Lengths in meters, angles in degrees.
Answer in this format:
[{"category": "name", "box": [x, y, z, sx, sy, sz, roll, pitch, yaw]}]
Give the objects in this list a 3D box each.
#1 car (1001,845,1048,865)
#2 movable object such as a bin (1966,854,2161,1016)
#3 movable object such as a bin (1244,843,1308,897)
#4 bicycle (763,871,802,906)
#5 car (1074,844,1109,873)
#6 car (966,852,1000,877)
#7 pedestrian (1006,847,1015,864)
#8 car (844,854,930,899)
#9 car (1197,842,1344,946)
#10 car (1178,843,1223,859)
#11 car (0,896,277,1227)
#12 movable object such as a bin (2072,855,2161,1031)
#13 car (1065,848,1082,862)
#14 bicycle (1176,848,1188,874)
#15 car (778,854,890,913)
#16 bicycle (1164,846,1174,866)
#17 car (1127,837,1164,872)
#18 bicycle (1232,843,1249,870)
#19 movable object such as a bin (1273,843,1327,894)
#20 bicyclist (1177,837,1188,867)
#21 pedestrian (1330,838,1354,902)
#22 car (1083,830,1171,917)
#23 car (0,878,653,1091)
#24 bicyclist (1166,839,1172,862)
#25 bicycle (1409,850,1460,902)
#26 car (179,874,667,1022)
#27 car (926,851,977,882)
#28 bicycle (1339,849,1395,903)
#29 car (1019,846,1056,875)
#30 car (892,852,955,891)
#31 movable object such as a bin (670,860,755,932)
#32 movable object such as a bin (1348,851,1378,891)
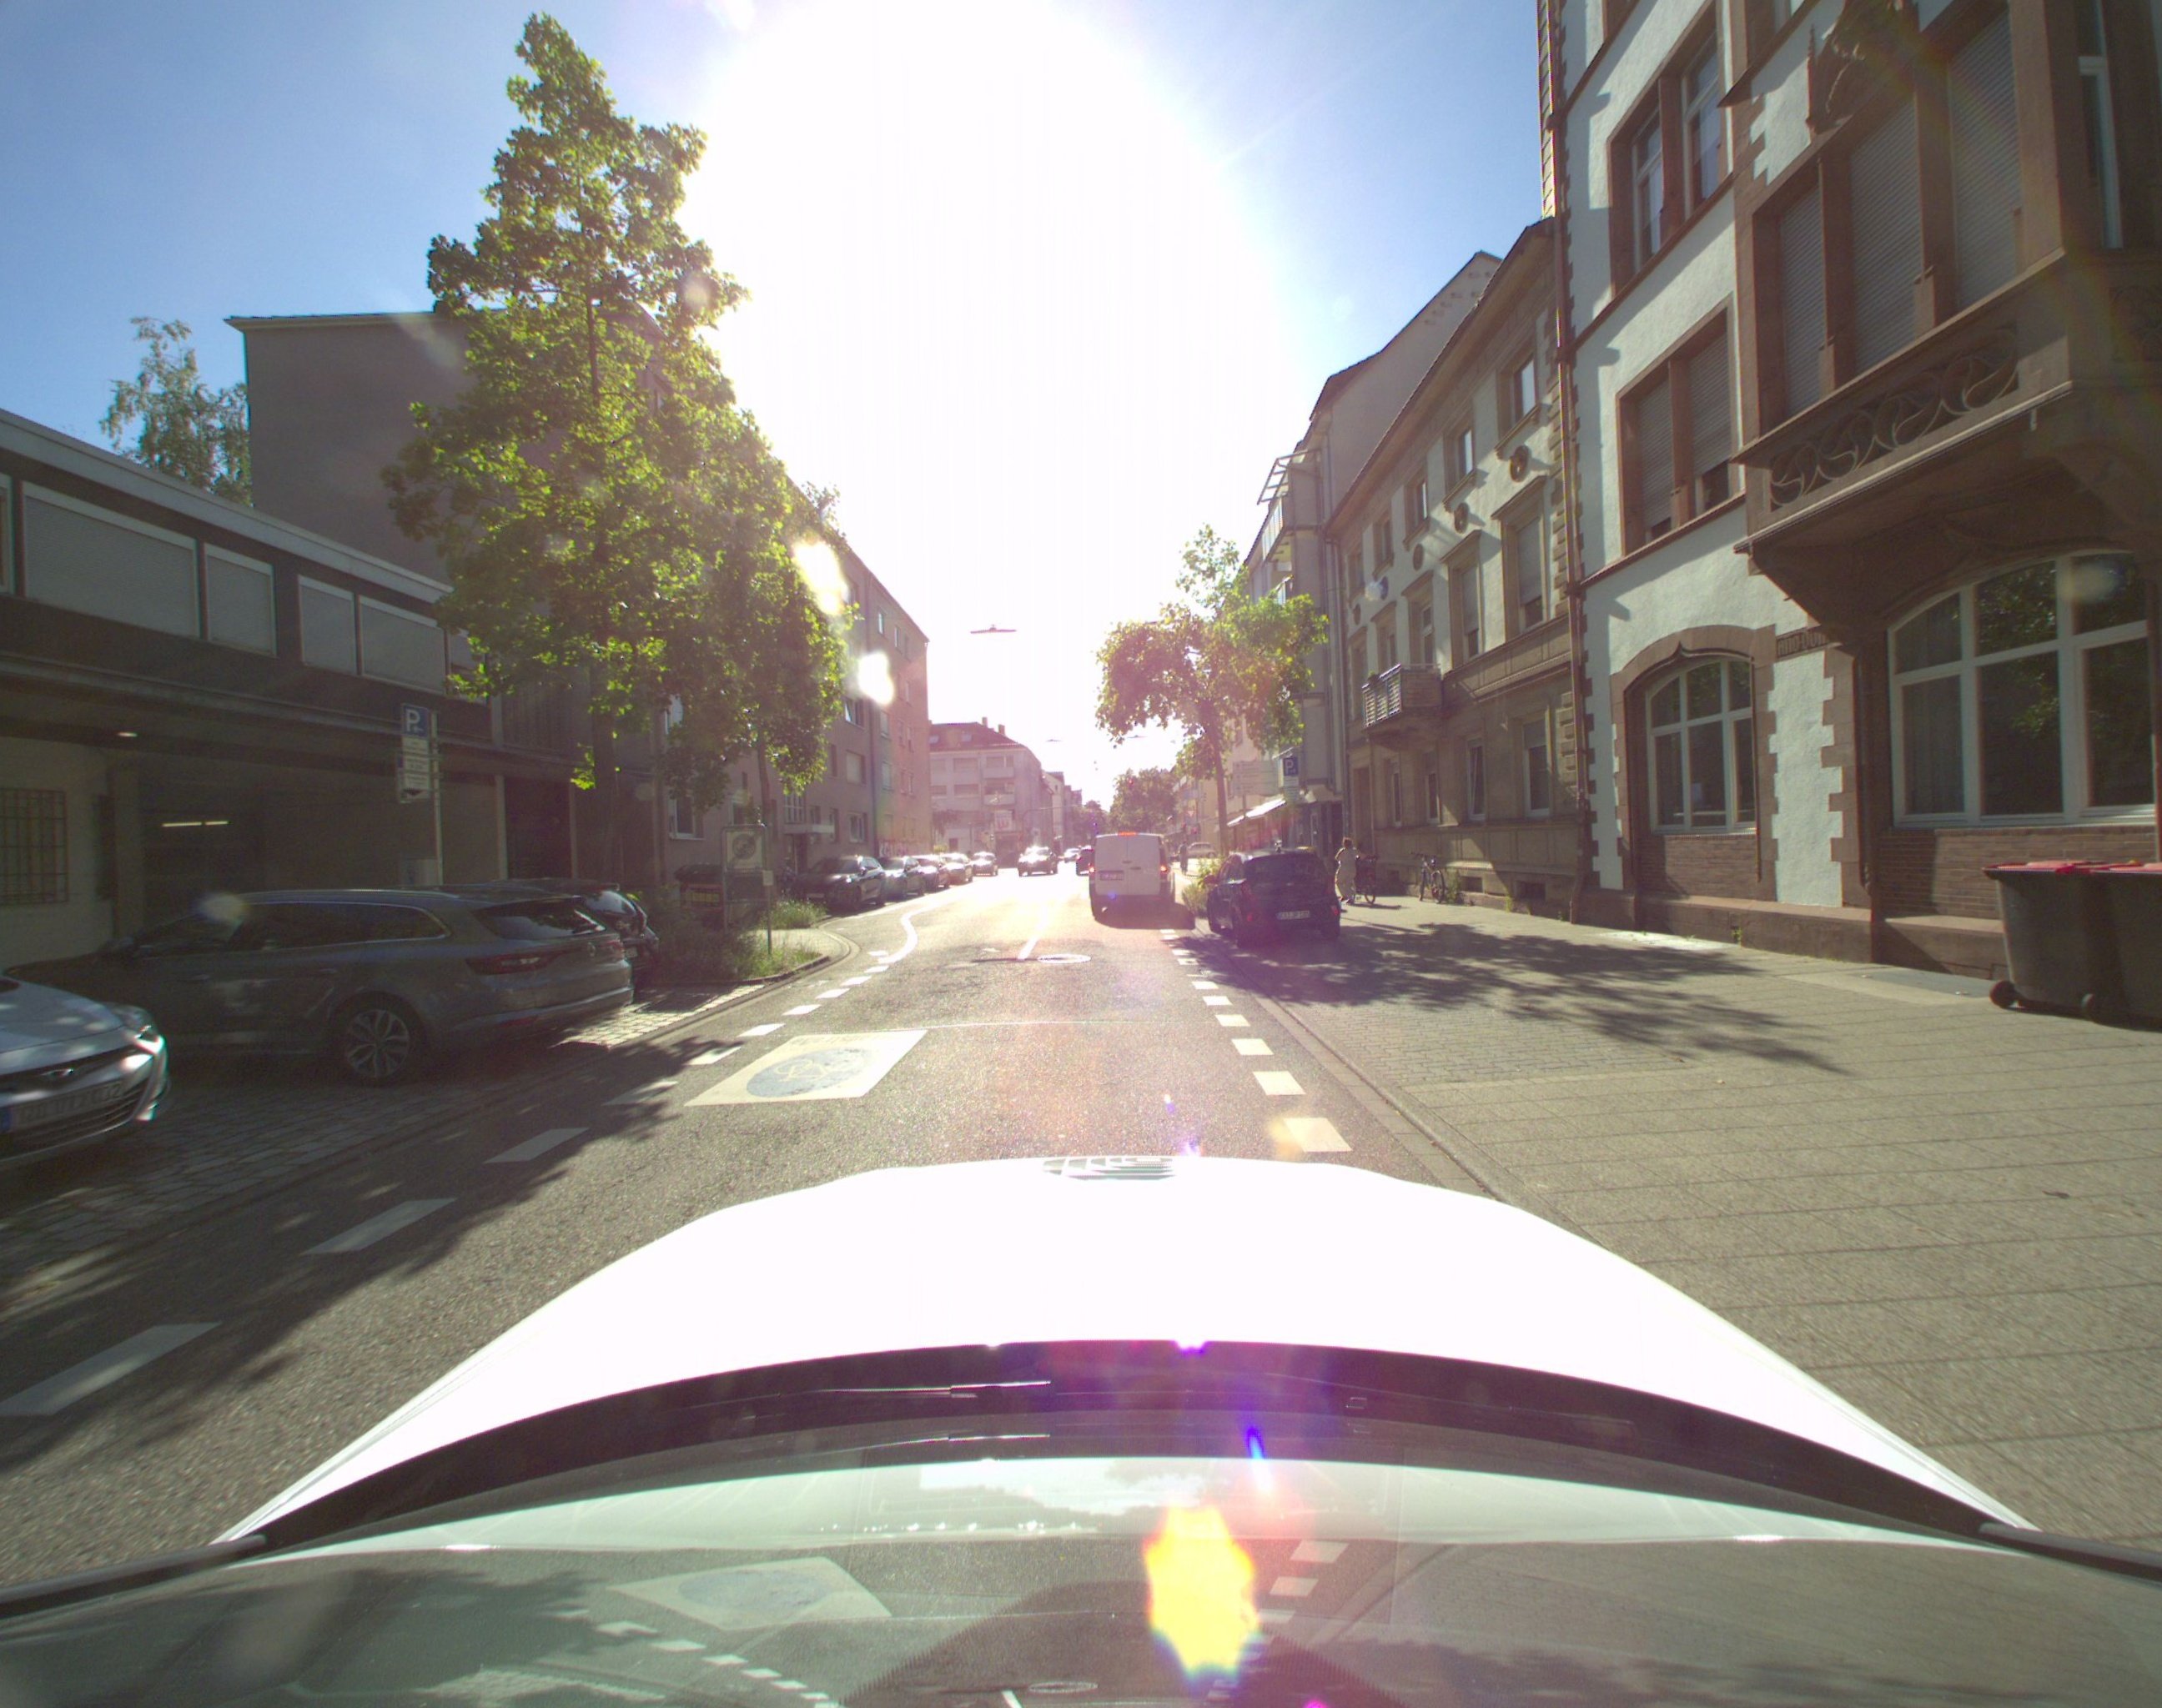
[{"category": "car", "box": [-4.833, 0.078, 70.110, 3.976, 1.640, 1.999, -2, 0, -2]}, {"category": "movable object such as a bin", "box": [7.006, 0.550, 5.827, 0.635, 1.069, 0.632, -2, 0, 1]}, {"category": "movable object such as a bin", "box": [5.205, 0.421, 21.731, 1.278, 1.347, 1.095, -3, 0, -41]}, {"category": "bicycle", "box": [-10.271, 1.171, 28.059, 0.552, 1.102, 1.904, -2, 0, 1]}, {"category": "car", "box": [0.579, 0.241, 45.925, 1.838, 1.507, 4.000, -2, 1, 0]}, {"category": "car", "box": [-6.239, 0.632, 52.394, 1.647, 1.479, 4.000, 0, 1, 0]}, {"category": "pedestrian", "box": [-6.757, 0.131, 78.181, 0.681, 1.663, 0.601, -2, 0, 0]}, {"category": "car", "box": [-7.176, 0.794, 30.597, 1.985, 1.497, 4.232, 1, 1, 3]}, {"category": "car", "box": [3.082, 0.583, 13.930, 1.630, 1.475, 3.580, -3, 0, 0]}, {"category": "car", "box": [10.495, -0.274, 71.796, 3.698, 1.303, 1.691, -2, 0, 1]}, {"category": "car", "box": [-7.034, 1.043, 4.135, 3.976, 1.463, 1.811, -1, 0, -2]}, {"category": "movable object such as a bin", "box": [7.019, 0.555, 5.233, 0.635, 1.069, 0.522, -2, 0, 1]}, {"category": "car", "box": [-0.767, 0.119, 86.014, 1.612, 1.398, 3.733, -1, 0, 2]}, {"category": "bicycle", "box": [5.212, 0.357, 41.993, 0.473, 1.274, 1.218, -2, 0, 1]}, {"category": "car", "box": [-7.349, 0.812, 24.699, 1.869, 1.606, 4.367, 0, 0, 2]}, {"category": "bicycle", "box": [5.820, 0.111, 53.887, 0.415, 1.310, 1.334, -2, 0, -1]}, {"category": "car", "box": [3.729, 0.017, 47.936, 1.809, 1.921, 4.644, -2, 1, 1]}, {"category": "bicycle", "box": [7.712, 0.111, 39.436, 0.473, 1.274, 1.218, -5, 0, 1]}, {"category": "movable object such as a bin", "box": [6.109, 0.406, 22.728, 1.028, 1.347, 1.116, -2, 1, 40]}, {"category": "bicyclist", "box": [5.266, -0.119, 42.238, 0.438, 1.508, 0.497, -2, 0, 1]}, {"category": "pedestrian", "box": [6.070, 0.363, 18.919, 0.366, 1.469, 0.389, -3, 0, 0]}, {"category": "car", "box": [1.090, 0.401, 20.476, 1.913, 1.914, 4.890, -1, 1, 2]}, {"category": "car", "box": [-6.213, 0.981, 6.851, 4.286, 1.460, 1.764, 0, 0, 3]}, {"category": "bicyclist", "box": [5.827, -0.230, 53.997, 0.354, 1.575, 0.481, -1, 0, -2]}, {"category": "bicycle", "box": [7.687, 0.456, 17.740, 0.431, 1.030, 1.428, -5, 0, 1]}, {"category": "car", "box": [-7.364, 1.014, 9.403, 4.289, 1.433, 1.645, -1, 0, 1]}, {"category": "car", "box": [-6.610, 0.587, 42.012, 1.770, 1.469, 4.761, 1, 0, 1]}, {"category": "bicycle", "box": [6.487, 0.464, 18.587, 0.534, 1.148, 2.124, -2, 0, 1]}, {"category": "car", "box": [-2.592, 0.354, 49.201, 1.860, 1.614, 4.429, -3, 0, 1]}, {"category": "car", "box": [-6.801, 0.710, 35.676, 1.714, 1.497, 4.628, 1, 1, 2]}, {"category": "movable object such as a bin", "box": [-7.950, 0.886, 17.637, 1.223, 1.450, 1.079, -2, 0, 9]}, {"category": "movable object such as a bin", "box": [7.468, 0.447, 21.569, 0.596, 1.042, 0.546, -2, 0, 1]}]
